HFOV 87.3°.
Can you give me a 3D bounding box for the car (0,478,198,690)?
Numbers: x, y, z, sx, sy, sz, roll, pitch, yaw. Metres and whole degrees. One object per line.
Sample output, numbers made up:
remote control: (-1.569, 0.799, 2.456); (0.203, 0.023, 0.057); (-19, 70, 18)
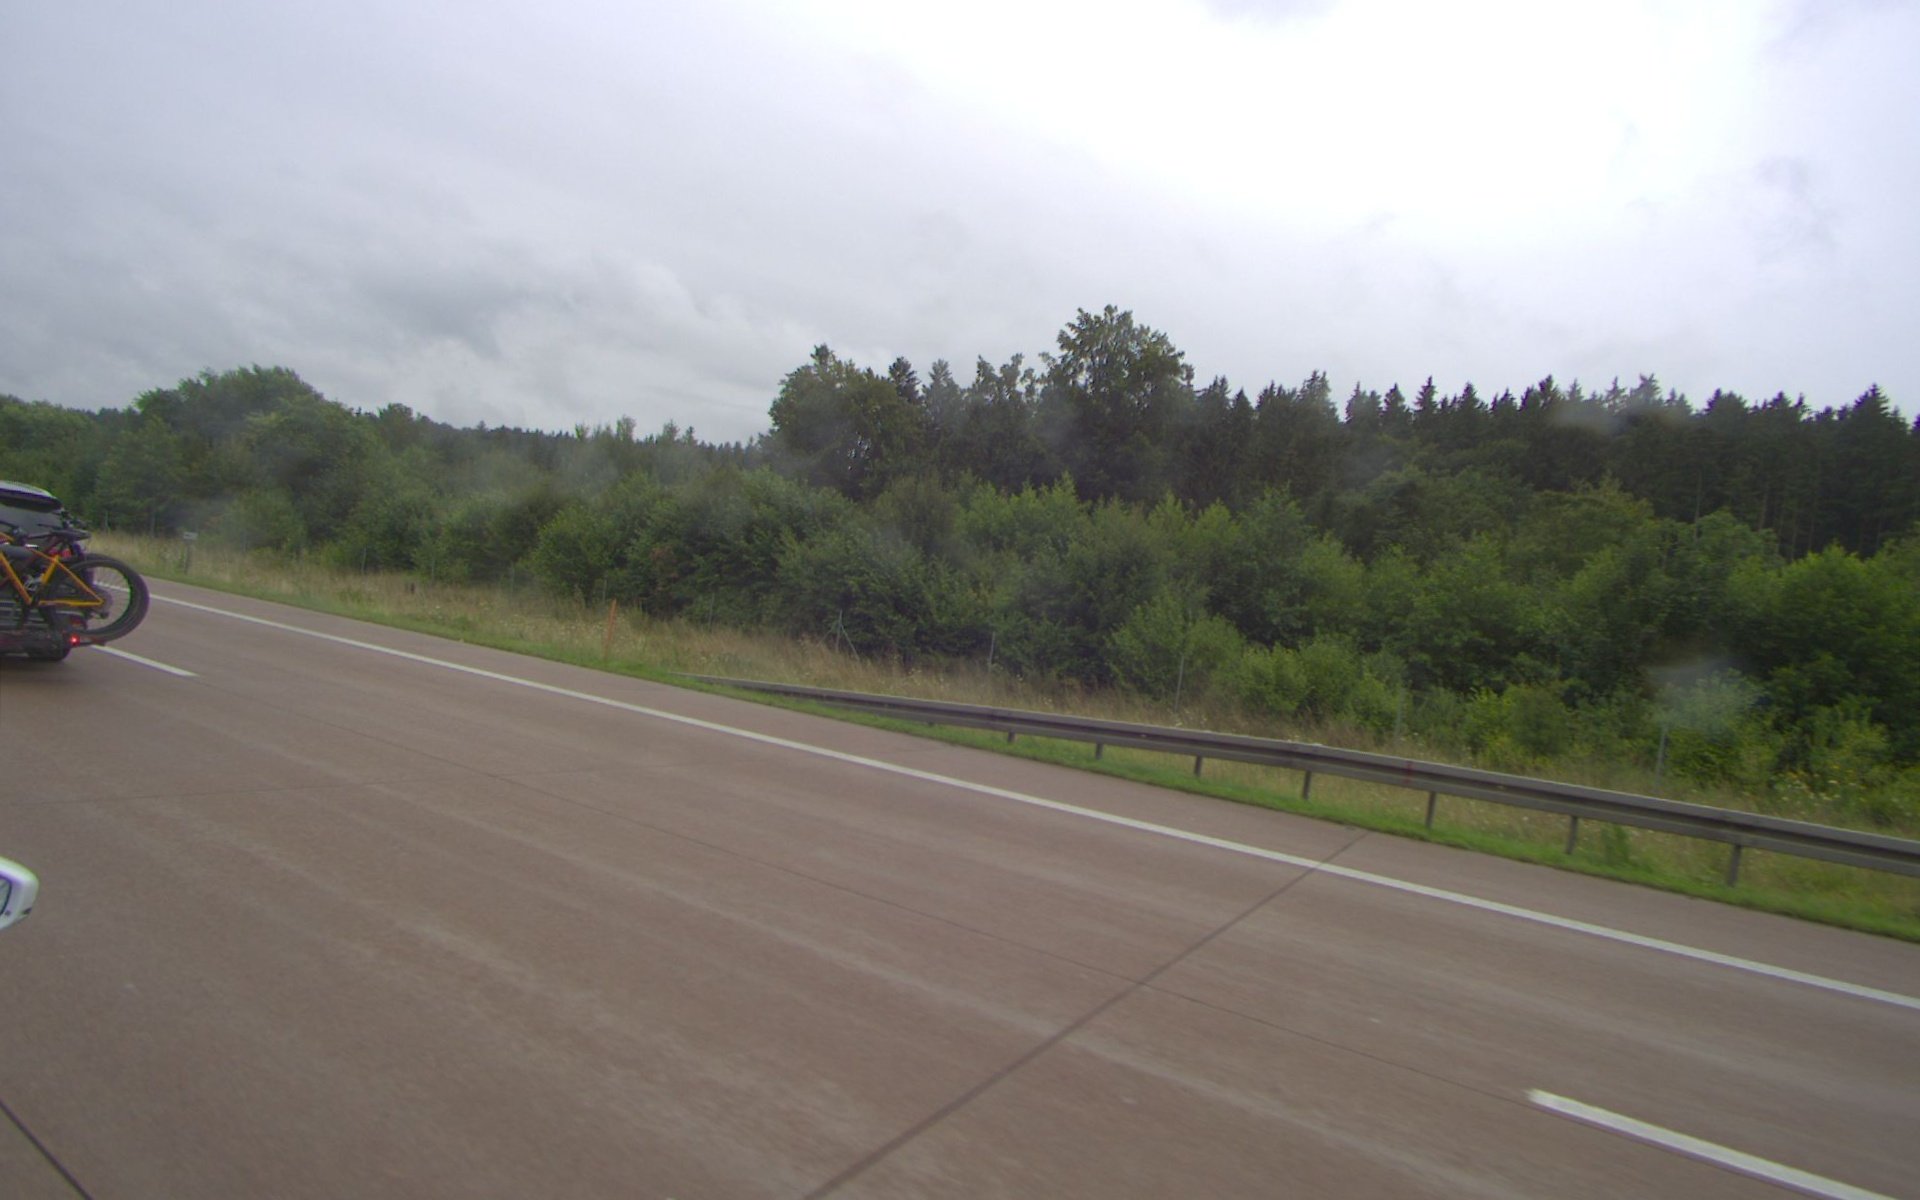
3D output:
car: (-9.759, -0.369, 9.538); (5.724, 1.611, 1.997); (6, -2, 32)
